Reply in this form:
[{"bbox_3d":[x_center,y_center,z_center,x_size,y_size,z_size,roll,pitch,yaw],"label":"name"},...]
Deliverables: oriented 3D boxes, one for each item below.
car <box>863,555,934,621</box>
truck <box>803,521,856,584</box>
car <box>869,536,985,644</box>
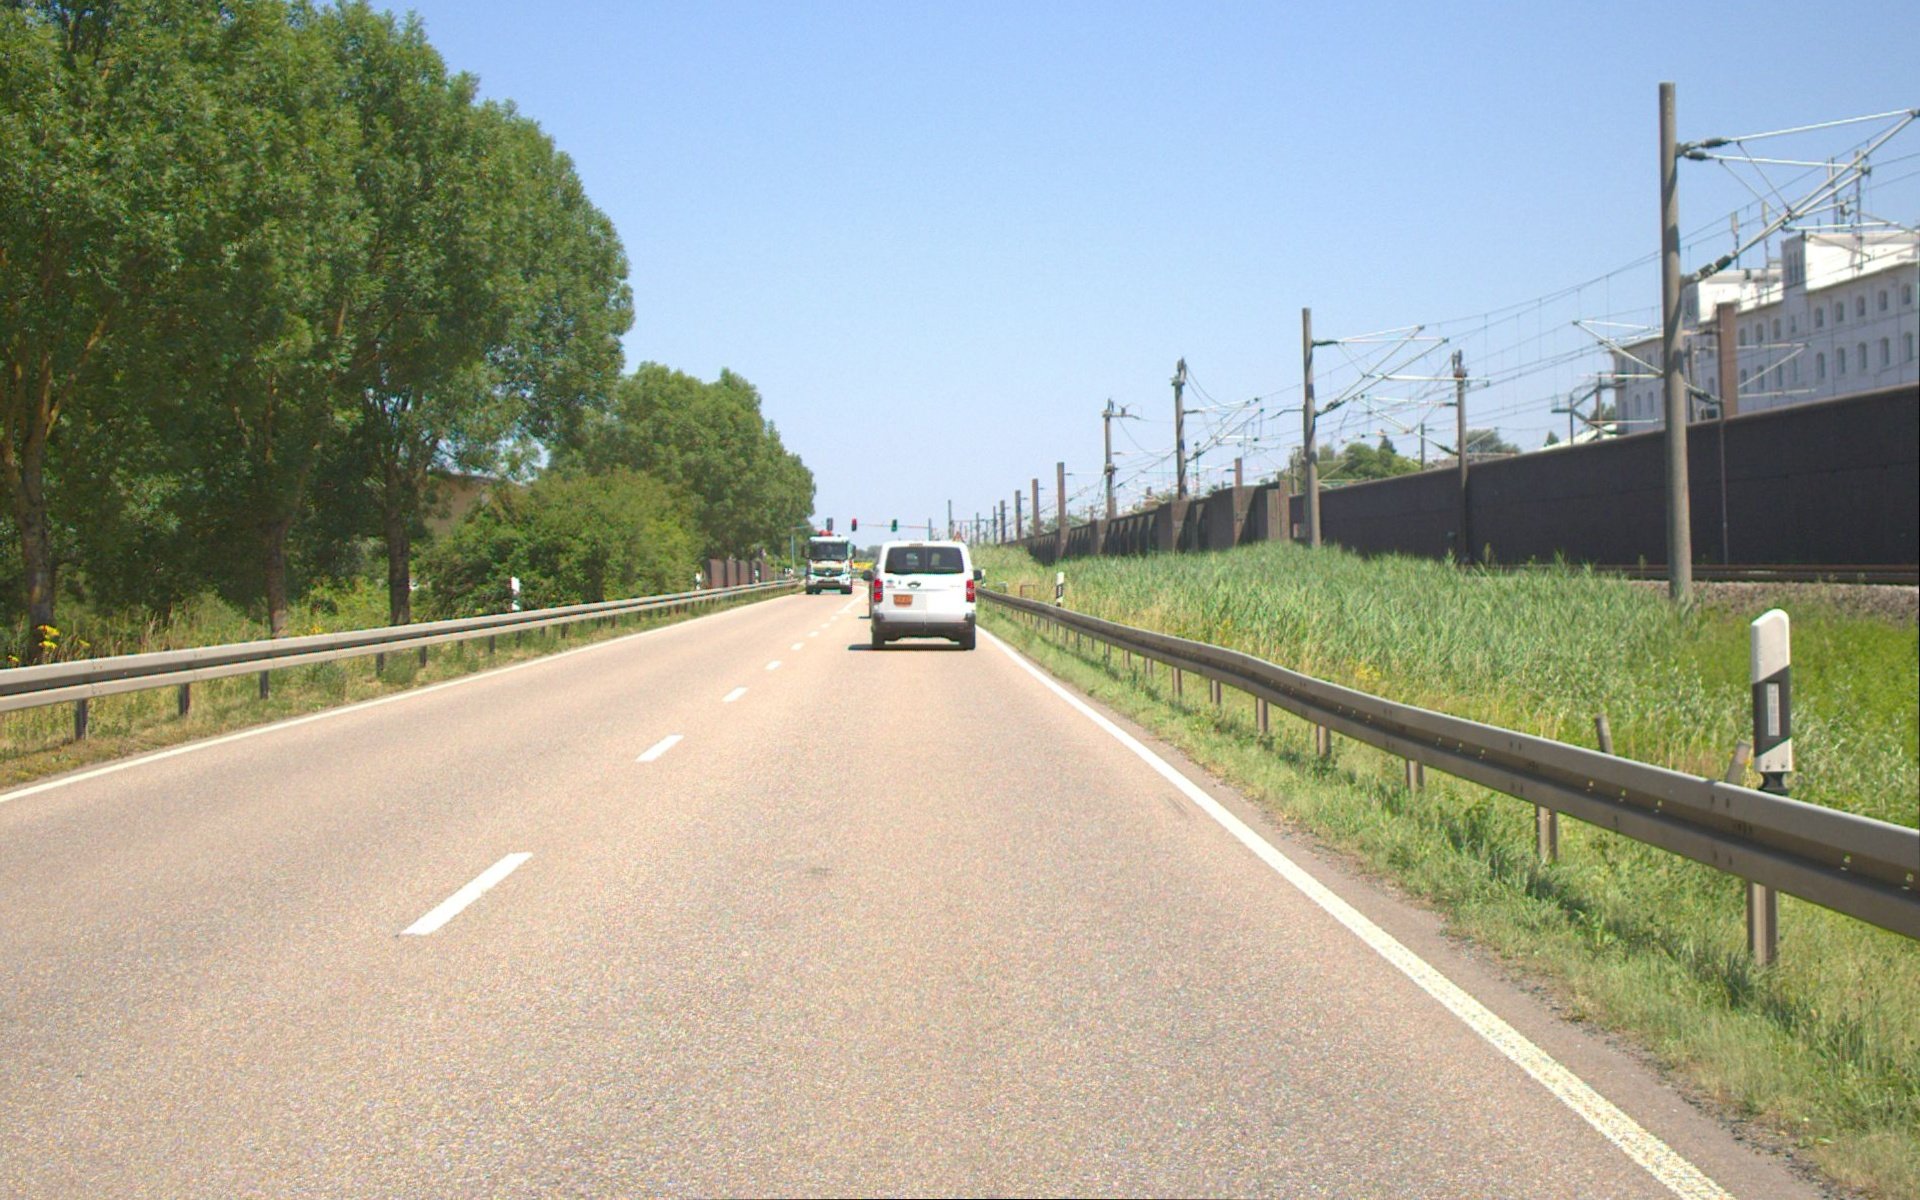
[{"bbox_3d":[-1.775,-0.366,99.775,1.993,1.844,4.000,1,1,-1],"label":"car"},{"bbox_3d":[-7.176,-2.619,190.269,2.783,3.393,7.989,1,1,-1],"label":"truck"},{"bbox_3d":[-0.606,-0.203,61.856,1.993,1.844,4.000,1,1,-1],"label":"car"}]
